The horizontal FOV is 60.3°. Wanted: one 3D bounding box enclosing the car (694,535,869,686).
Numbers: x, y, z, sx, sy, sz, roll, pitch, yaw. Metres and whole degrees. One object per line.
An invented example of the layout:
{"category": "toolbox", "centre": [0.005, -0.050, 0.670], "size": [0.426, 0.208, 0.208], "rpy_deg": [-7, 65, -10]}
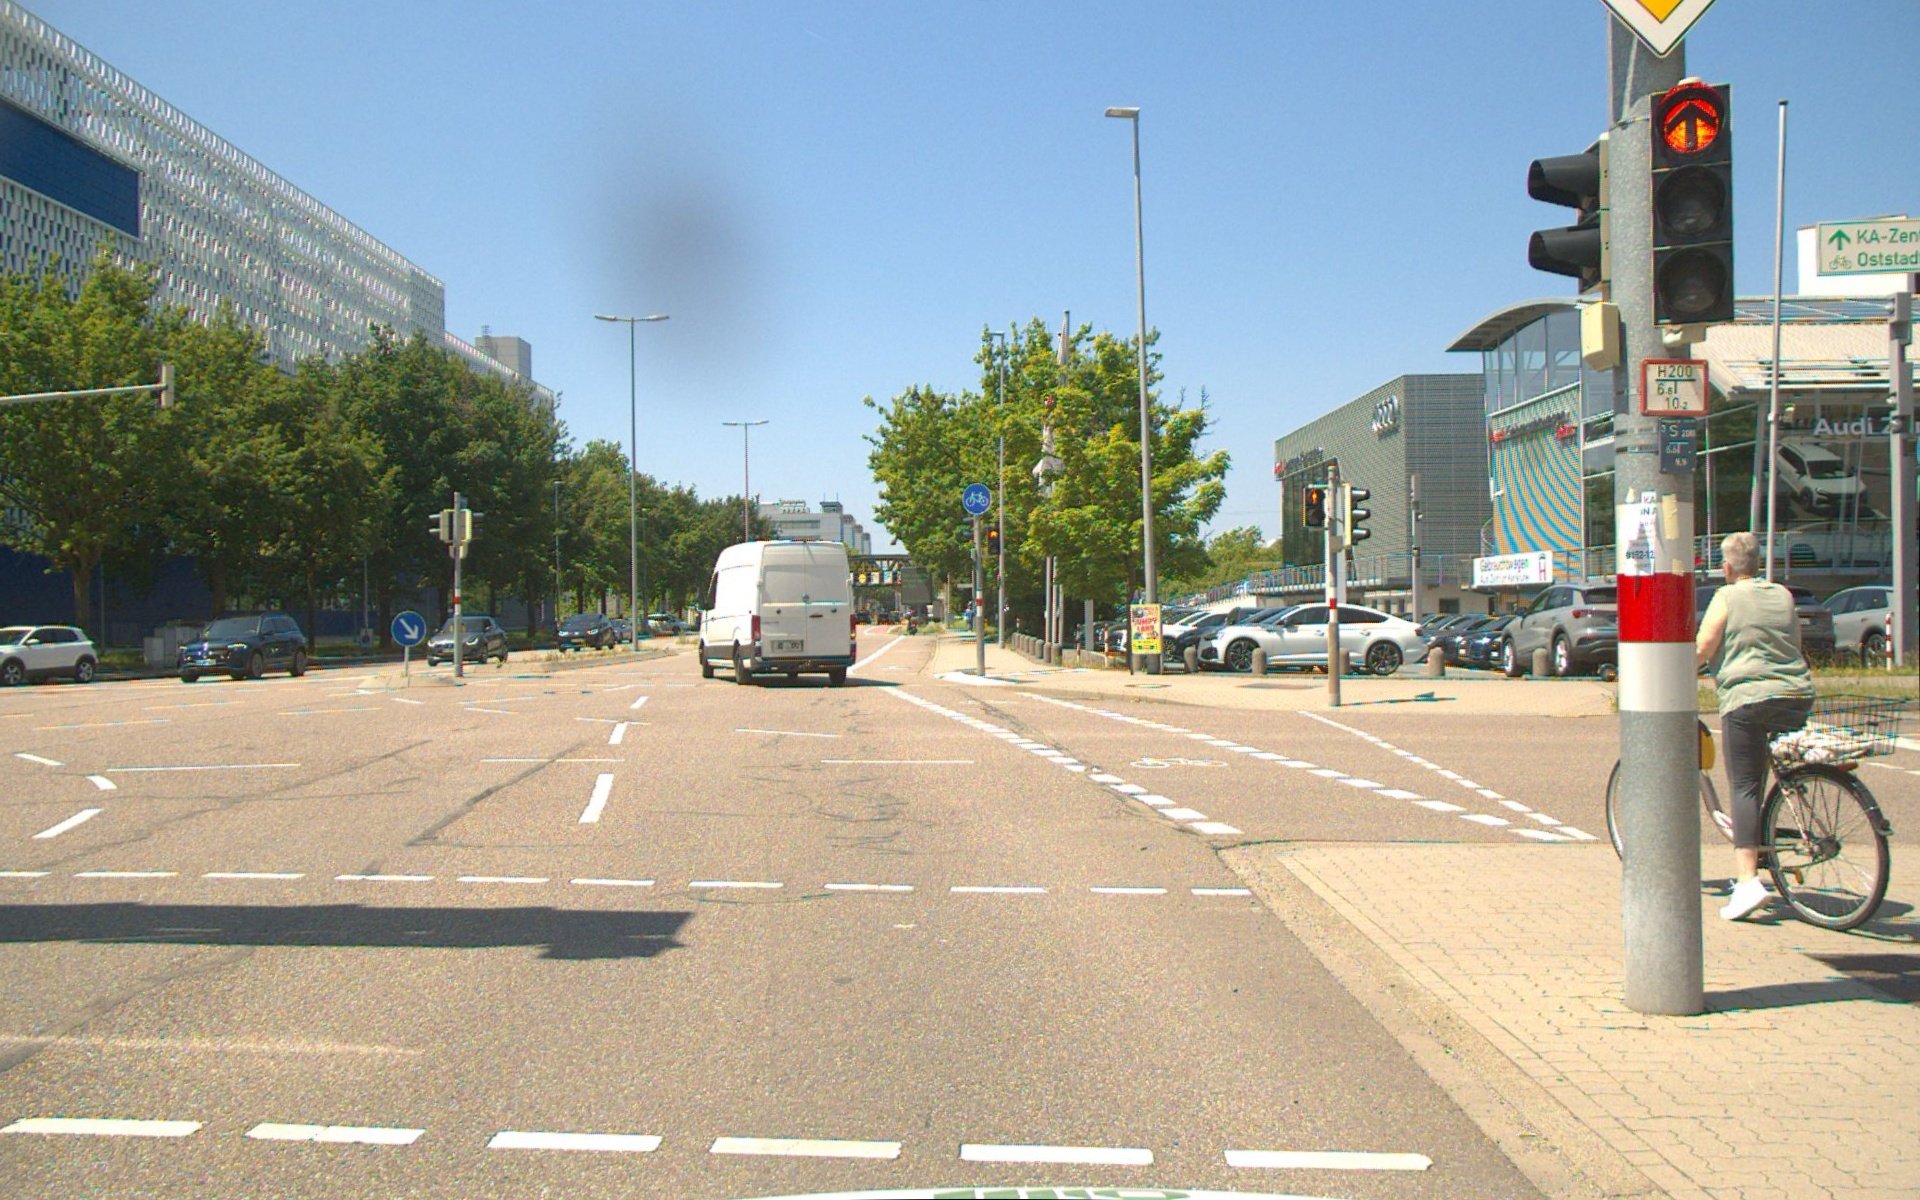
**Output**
{"category": "car", "centre": [-3.511, 0.198, 31.353], "size": [2.064, 2.578, 5.768], "rpy_deg": [0, -1, -19]}

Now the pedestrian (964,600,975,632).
{"category": "pedestrian", "centre": [0.566, 0.980, 102.658], "size": [0.649, 1.998, 0.759], "rpy_deg": [-1, 0, -1]}

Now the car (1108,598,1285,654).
{"category": "car", "centre": [6.614, 0.710, 46.651], "size": [4.646, 1.482, 1.999], "rpy_deg": [-1, 0, -3]}

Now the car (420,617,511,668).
{"category": "car", "centre": [-15.240, 1.293, 51.151], "size": [1.697, 1.452, 3.705], "rpy_deg": [-3, -1, -1]}

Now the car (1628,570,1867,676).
{"category": "car", "centre": [13.680, 0.355, 29.078], "size": [1.953, 1.668, 4.557], "rpy_deg": [-1, 0, -1]}

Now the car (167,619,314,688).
{"category": "car", "centre": [-18.314, 1.324, 42.347], "size": [1.837, 1.626, 4.495], "rpy_deg": [-1, -1, -1]}

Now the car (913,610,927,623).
{"category": "car", "centre": [-5.455, 2.263, 226.254], "size": [1.736, 1.758, 3.999], "rpy_deg": [-1, -1, -1]}

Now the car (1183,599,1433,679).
{"category": "car", "centre": [6.942, 0.769, 33.391], "size": [4.643, 1.482, 2.000], "rpy_deg": [-1, 0, 1]}

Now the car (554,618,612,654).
{"category": "car", "centre": [-15.918, 1.492, 69.950], "size": [1.650, 1.436, 3.664], "rpy_deg": [-1, -1, -1]}

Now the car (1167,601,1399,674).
{"category": "car", "centre": [6.945, 0.814, 35.932], "size": [4.643, 1.482, 2.000], "rpy_deg": [-1, -1, 1]}

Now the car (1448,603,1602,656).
{"category": "car", "centre": [16.858, 0.874, 49.471], "size": [4.008, 1.486, 1.719], "rpy_deg": [-1, 0, 0]}

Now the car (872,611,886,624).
{"category": "car", "centre": [-10.878, 2.357, 223.182], "size": [1.736, 1.758, 3.999], "rpy_deg": [-1, -1, -1]}

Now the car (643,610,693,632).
{"category": "car", "centre": [-26.087, 1.894, 147.904], "size": [3.930, 1.842, 2.002], "rpy_deg": [1, 0, 14]}

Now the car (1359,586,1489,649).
{"category": "car", "centre": [15.969, 0.586, 57.039], "size": [3.905, 2.049, 2.000], "rpy_deg": [-1, 0, 0]}

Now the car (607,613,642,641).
{"category": "car", "centre": [-20.589, 1.646, 101.666], "size": [1.617, 1.682, 4.159], "rpy_deg": [-1, 0, -5]}

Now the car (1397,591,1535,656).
{"category": "car", "centre": [16.664, 0.765, 54.626], "size": [3.905, 2.049, 2.000], "rpy_deg": [-1, 0, 0]}

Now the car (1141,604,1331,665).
{"category": "car", "centre": [7.262, 0.890, 43.842], "size": [4.646, 1.482, 1.999], "rpy_deg": [-1, 0, -3]}

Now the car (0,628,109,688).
{"category": "car", "centre": [-24.874, 1.538, 44.095], "size": [1.587, 1.483, 4.073], "rpy_deg": [-1, -1, 14]}

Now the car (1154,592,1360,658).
{"category": "car", "centre": [7.125, 0.591, 40.038], "size": [4.643, 1.482, 2.000], "rpy_deg": [-1, 0, 1]}

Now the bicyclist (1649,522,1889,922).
{"category": "bicyclist", "centre": [3.772, 0.541, 7.759], "size": [0.719, 1.779, 0.753], "rpy_deg": [0, 0, -5]}

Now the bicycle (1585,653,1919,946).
{"category": "bicycle", "centre": [3.788, 0.865, 7.896], "size": [0.771, 1.147, 1.919], "rpy_deg": [0, 0, -4]}

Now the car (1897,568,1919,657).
{"category": "car", "centre": [18.839, 0.229, 29.287], "size": [1.847, 1.668, 4.524], "rpy_deg": [-1, 0, -1]}

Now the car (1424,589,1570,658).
{"category": "car", "centre": [16.773, 0.723, 51.812], "size": [3.905, 2.049, 2.000], "rpy_deg": [-1, 0, 0]}

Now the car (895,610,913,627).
{"category": "car", "centre": [-3.542, 1.173, 105.239], "size": [1.114, 1.060, 2.308], "rpy_deg": [-1, 0, -1]}

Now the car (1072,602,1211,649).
{"category": "car", "centre": [6.440, 0.905, 58.919], "size": [4.646, 1.482, 1.999], "rpy_deg": [-2, 0, -3]}

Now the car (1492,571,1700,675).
{"category": "car", "centre": [11.080, 0.359, 29.164], "size": [1.953, 1.668, 4.267], "rpy_deg": [-1, 0, -1]}

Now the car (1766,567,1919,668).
{"category": "car", "centre": [16.471, 0.258, 29.512], "size": [1.953, 1.668, 4.440], "rpy_deg": [-1, 0, -1]}
